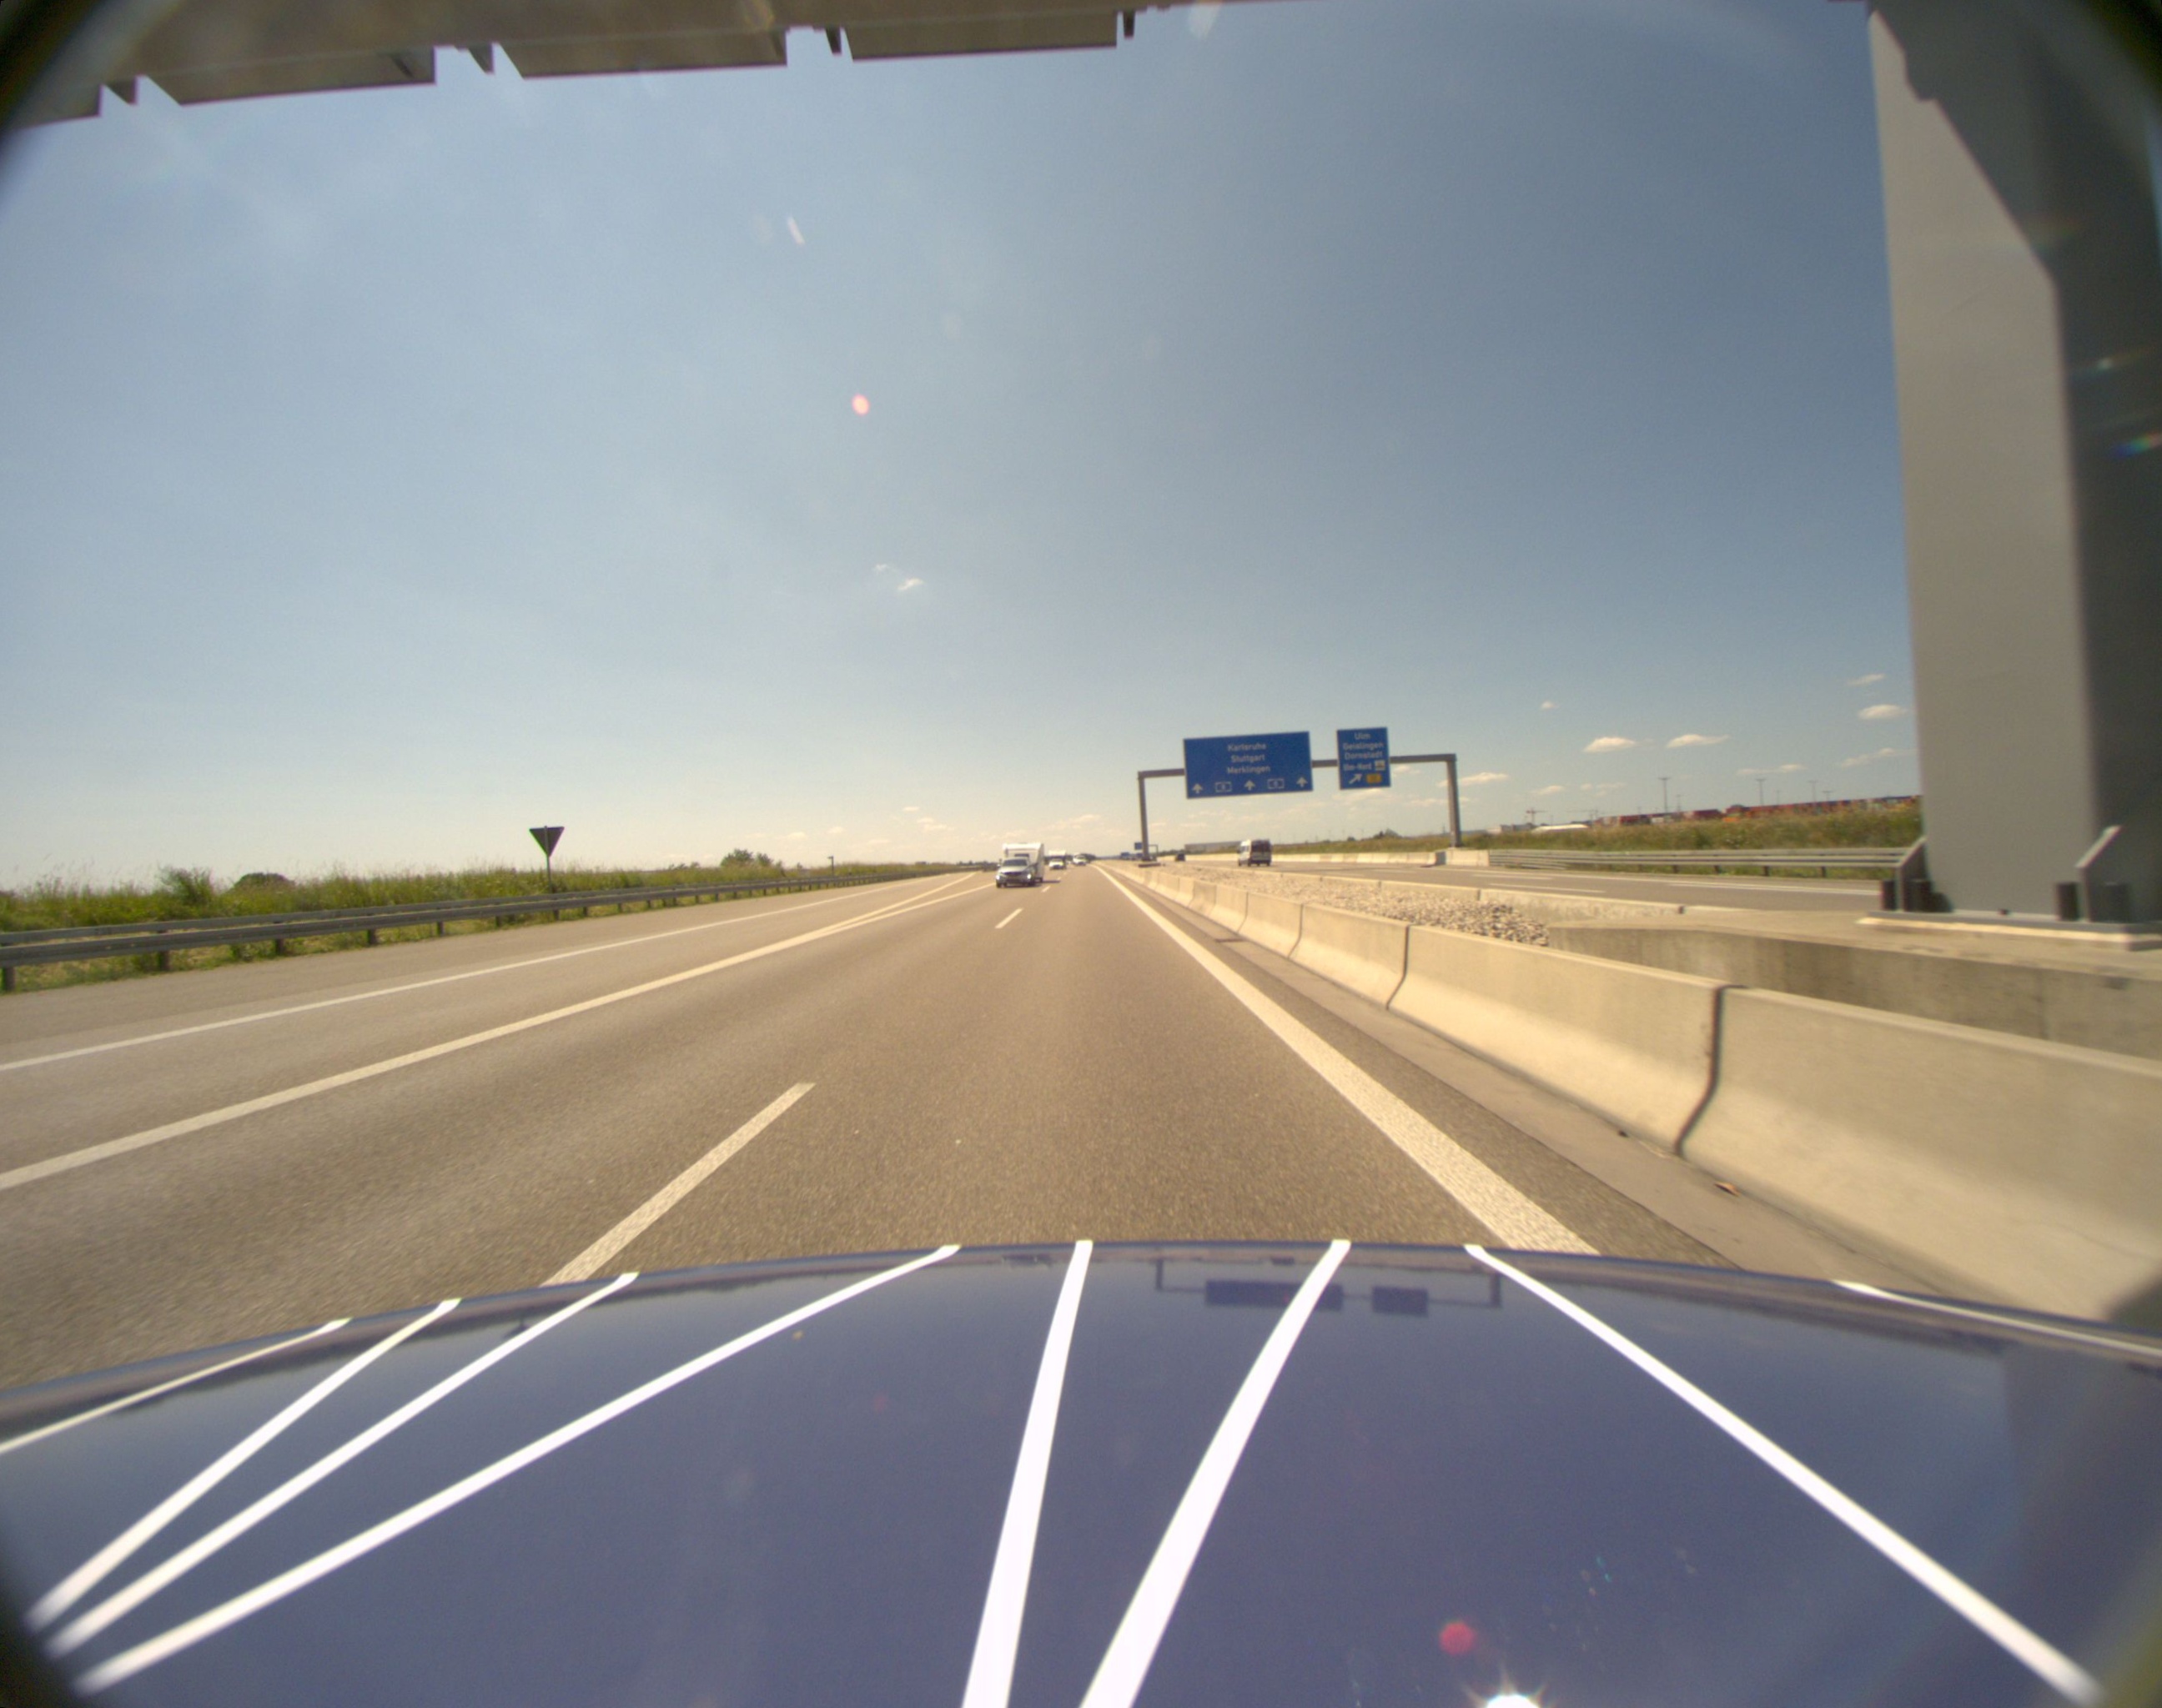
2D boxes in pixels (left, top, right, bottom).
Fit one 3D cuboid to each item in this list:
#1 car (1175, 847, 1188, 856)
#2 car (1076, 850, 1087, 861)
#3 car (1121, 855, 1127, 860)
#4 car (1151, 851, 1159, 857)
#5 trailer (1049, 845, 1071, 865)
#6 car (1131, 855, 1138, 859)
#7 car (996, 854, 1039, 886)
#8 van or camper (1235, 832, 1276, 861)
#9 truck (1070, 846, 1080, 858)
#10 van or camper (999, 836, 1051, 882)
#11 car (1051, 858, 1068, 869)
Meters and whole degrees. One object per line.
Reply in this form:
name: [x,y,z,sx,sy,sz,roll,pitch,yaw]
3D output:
car: [20.495,-0.538,155.108,1.851,1.813,4.921,-2,0,0]
car: [0.164,0.298,141.028,1.998,2.002,4.000,-2,0,0]
car: [13.893,1.069,246.688,1.848,1.374,4.752,-2,0,2]
car: [18.100,0.064,186.151,1.895,1.321,3.987,-2,0,3]
trailer: [-2.872,0.183,105.166,2.500,2.686,7.157,-2,-1,2]
car: [18.154,0.941,258.626,1.998,1.371,4.364,-2,0,2]
car: [-3.450,0.835,42.119,1.885,1.613,4.904,-2,0,1]
van or camper: [16.547,-0.664,72.493,2.325,2.543,6.315,-2,0,0]
truck: [-1.330,-0.530,177.811,2.168,2.797,6.489,-2,0,0]
van or camper: [-3.426,0.350,48.410,2.518,2.577,7.818,-2,-1,1]
car: [-2.782,1.277,99.725,1.872,1.351,3.673,-1,-1,2]
